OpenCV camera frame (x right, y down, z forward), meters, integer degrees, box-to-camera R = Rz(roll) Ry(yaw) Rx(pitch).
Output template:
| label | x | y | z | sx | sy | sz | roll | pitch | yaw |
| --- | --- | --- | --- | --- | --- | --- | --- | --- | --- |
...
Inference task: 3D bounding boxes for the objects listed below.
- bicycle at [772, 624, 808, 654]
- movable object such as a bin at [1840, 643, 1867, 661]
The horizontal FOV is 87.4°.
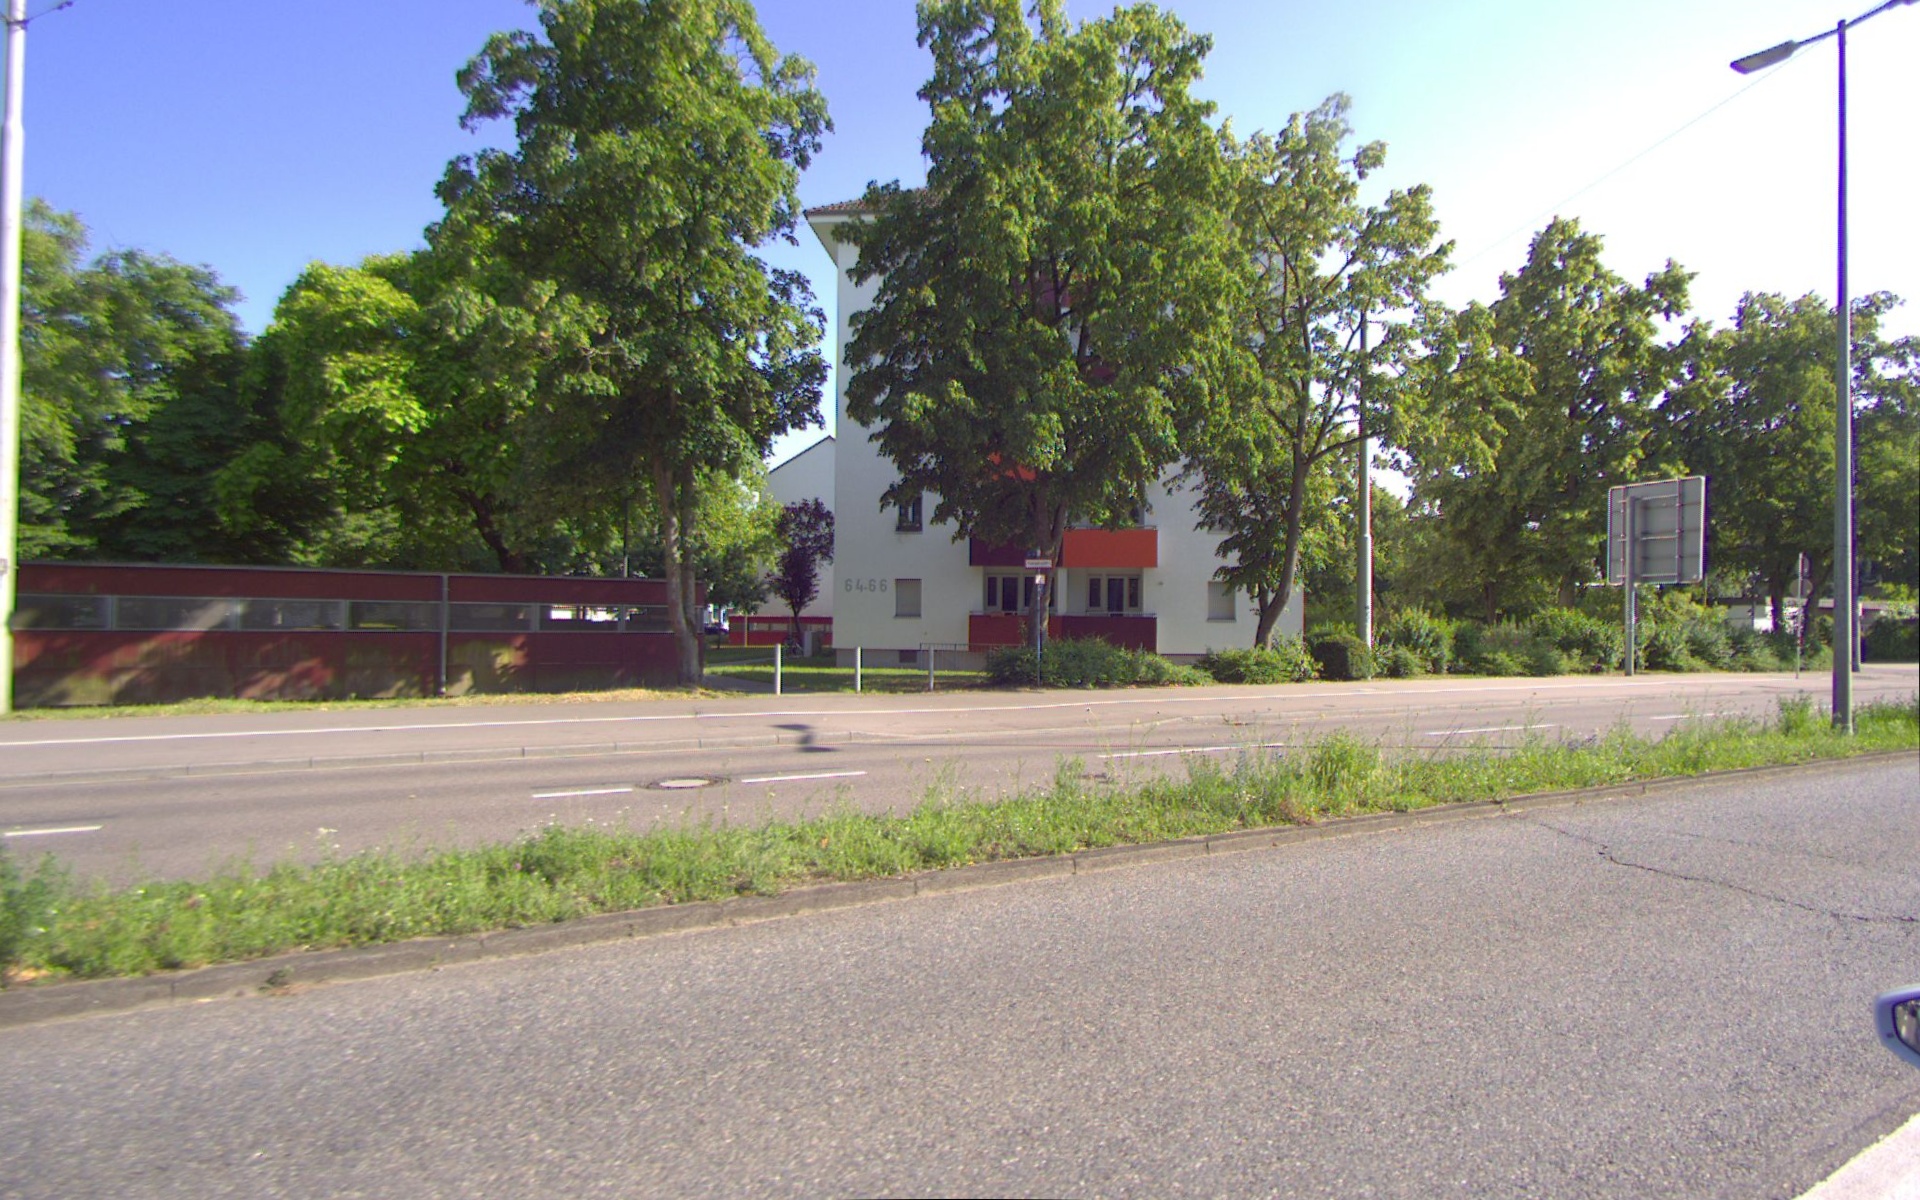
| label | x | y | z | sx | sy | sz | roll | pitch | yaw |
| --- | --- | --- | --- | --- | --- | --- | --- | --- | --- |
| bicycle | -6.761 | 1.536 | 40.031 | 0.732 | 1.124 | 2.539 | 0 | -1 | 6 |
| movable object such as a bin | 46.076 | 2.675 | 51.797 | 0.842 | 0.943 | 0.813 | 1 | -1 | -27 |
